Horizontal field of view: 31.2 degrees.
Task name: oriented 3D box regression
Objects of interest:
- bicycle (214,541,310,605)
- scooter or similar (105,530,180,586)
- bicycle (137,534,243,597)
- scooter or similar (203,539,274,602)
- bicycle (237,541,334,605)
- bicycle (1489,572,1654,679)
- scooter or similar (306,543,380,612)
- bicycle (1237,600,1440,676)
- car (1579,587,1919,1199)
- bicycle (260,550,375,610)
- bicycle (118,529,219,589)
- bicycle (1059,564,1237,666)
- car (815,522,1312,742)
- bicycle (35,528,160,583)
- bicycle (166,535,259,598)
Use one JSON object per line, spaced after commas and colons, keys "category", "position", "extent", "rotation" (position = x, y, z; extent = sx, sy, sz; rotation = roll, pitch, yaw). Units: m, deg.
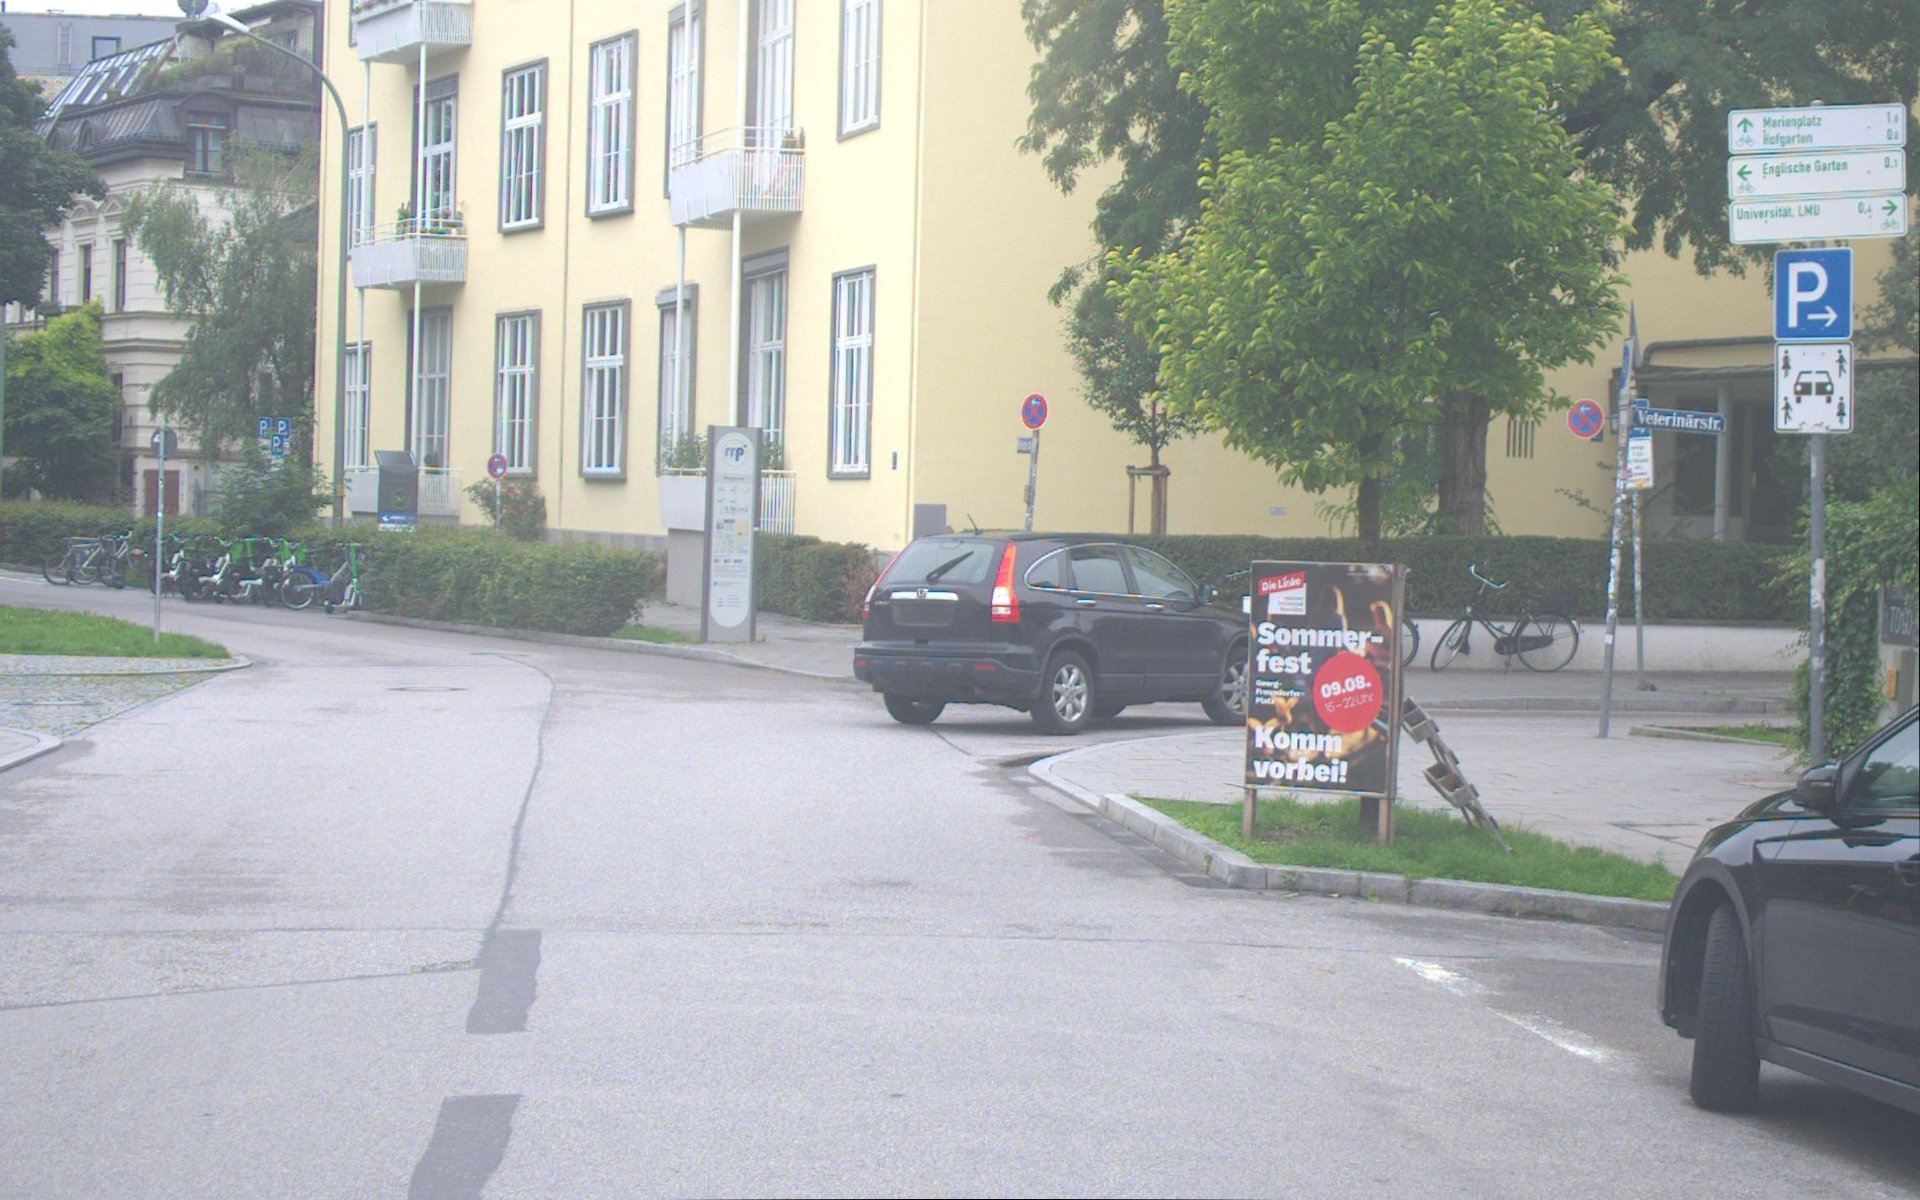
{"category": "bicycle", "position": [-12.317, -0.487, 60.708], "extent": [0.576, 1.082, 1.930], "rotation": [2, 2, 28]}
{"category": "scooter or similar", "position": [-16.121, -0.829, 67.793], "extent": [1.404, 1.084, 0.597], "rotation": [0, 2, -11]}
{"category": "bicycle", "position": [-13.885, -0.633, 62.064], "extent": [0.696, 1.082, 2.336], "rotation": [1, 2, 20]}
{"category": "scooter or similar", "position": [-12.805, -0.532, 61.043], "extent": [0.496, 1.084, 1.408], "rotation": [1, 2, 24]}
{"category": "bicycle", "position": [-11.789, -0.478, 60.170], "extent": [0.576, 1.082, 1.930], "rotation": [2, 2, 28]}
{"category": "bicycle", "position": [6.963, 0.285, 39.169], "extent": [1.735, 1.146, 0.610], "rotation": [2, 1, 0]}
{"category": "scooter or similar", "position": [-10.176, -0.379, 56.752], "extent": [0.496, 1.105, 1.408], "rotation": [1, 2, 24]}
{"category": "bicycle", "position": [4.329, 0.426, 39.318], "extent": [2.212, 0.776, 0.610], "rotation": [2, 1, 16]}
{"category": "car", "position": [3.144, 0.844, 9.128], "extent": [1.703, 1.513, 3.960], "rotation": [6, 1, -7]}
{"category": "bicycle", "position": [-10.835, -0.340, 58.015], "extent": [1.823, 1.002, 0.577], "rotation": [0, 2, -31]}
{"category": "bicycle", "position": [-14.677, -0.774, 63.798], "extent": [0.763, 1.082, 2.139], "rotation": [1, 2, 20]}
{"category": "bicycle", "position": [2.206, 0.164, 40.549], "extent": [2.216, 1.113, 0.608], "rotation": [3, 2, 44]}
{"category": "car", "position": [0.976, 0.301, 29.768], "extent": [2.000, 1.688, 4.370], "rotation": [4, 1, 39]}
{"category": "bicycle", "position": [-17.407, -0.892, 69.412], "extent": [2.331, 1.082, 0.693], "rotation": [0, 2, -34]}
{"category": "bicycle", "position": [-13.330, -0.605, 61.361], "extent": [0.638, 1.082, 1.984], "rotation": [1, 2, 20]}
